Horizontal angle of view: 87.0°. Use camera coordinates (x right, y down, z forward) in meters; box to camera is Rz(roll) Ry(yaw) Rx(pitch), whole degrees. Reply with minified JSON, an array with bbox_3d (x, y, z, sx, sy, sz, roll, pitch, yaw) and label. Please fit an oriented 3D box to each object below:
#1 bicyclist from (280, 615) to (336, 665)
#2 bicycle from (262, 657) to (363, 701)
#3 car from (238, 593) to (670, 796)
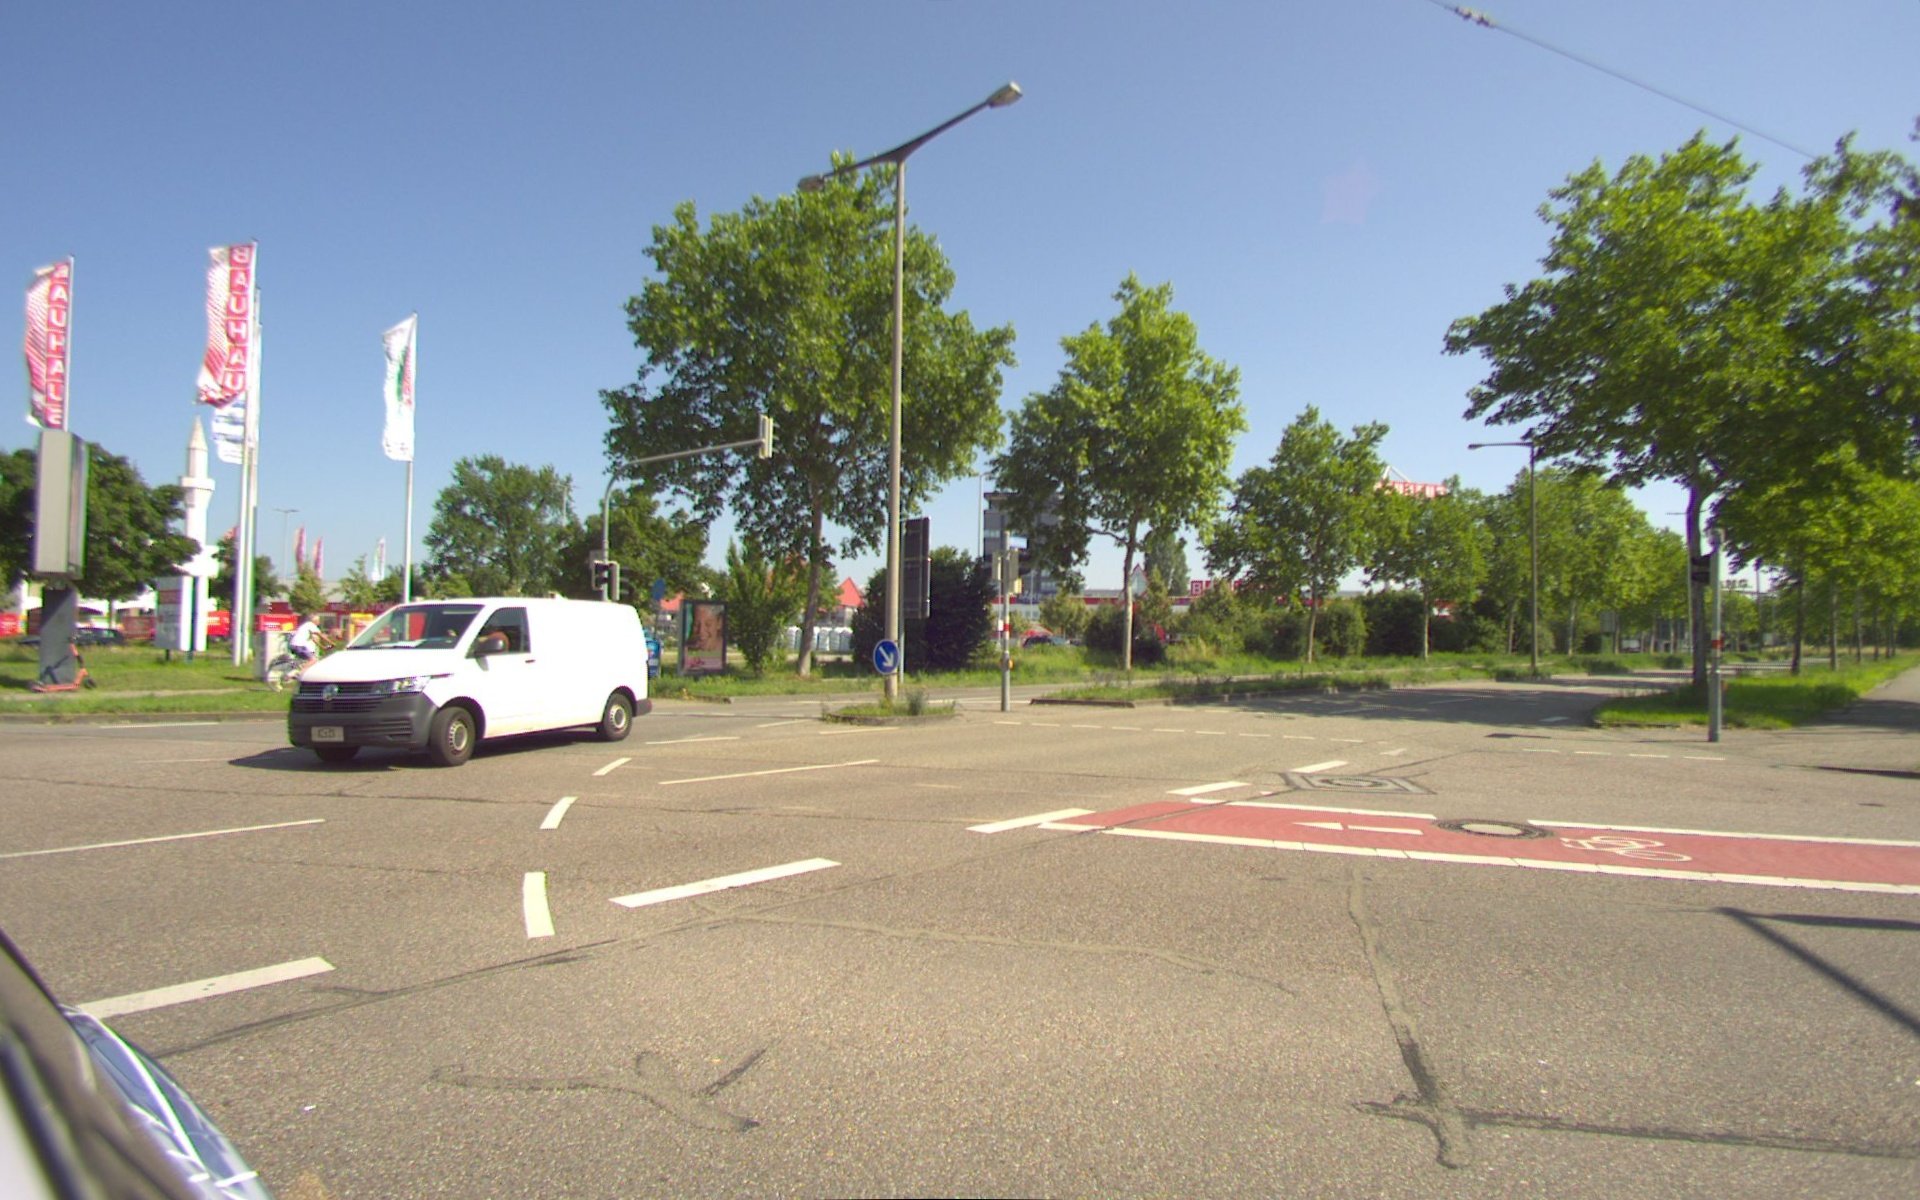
[{"bbox_3d":[-14.710,0.898,22.830,0.936,1.092,0.894,2,-3,-39],"label":"bicyclist"},{"bbox_3d":[-14.584,1.769,22.821,1.848,0.929,0.547,3,-3,-41],"label":"bicycle"},{"bbox_3d":[-5.932,1.033,12.744,1.873,2.009,4.942,0,-2,19],"label":"car"}]
